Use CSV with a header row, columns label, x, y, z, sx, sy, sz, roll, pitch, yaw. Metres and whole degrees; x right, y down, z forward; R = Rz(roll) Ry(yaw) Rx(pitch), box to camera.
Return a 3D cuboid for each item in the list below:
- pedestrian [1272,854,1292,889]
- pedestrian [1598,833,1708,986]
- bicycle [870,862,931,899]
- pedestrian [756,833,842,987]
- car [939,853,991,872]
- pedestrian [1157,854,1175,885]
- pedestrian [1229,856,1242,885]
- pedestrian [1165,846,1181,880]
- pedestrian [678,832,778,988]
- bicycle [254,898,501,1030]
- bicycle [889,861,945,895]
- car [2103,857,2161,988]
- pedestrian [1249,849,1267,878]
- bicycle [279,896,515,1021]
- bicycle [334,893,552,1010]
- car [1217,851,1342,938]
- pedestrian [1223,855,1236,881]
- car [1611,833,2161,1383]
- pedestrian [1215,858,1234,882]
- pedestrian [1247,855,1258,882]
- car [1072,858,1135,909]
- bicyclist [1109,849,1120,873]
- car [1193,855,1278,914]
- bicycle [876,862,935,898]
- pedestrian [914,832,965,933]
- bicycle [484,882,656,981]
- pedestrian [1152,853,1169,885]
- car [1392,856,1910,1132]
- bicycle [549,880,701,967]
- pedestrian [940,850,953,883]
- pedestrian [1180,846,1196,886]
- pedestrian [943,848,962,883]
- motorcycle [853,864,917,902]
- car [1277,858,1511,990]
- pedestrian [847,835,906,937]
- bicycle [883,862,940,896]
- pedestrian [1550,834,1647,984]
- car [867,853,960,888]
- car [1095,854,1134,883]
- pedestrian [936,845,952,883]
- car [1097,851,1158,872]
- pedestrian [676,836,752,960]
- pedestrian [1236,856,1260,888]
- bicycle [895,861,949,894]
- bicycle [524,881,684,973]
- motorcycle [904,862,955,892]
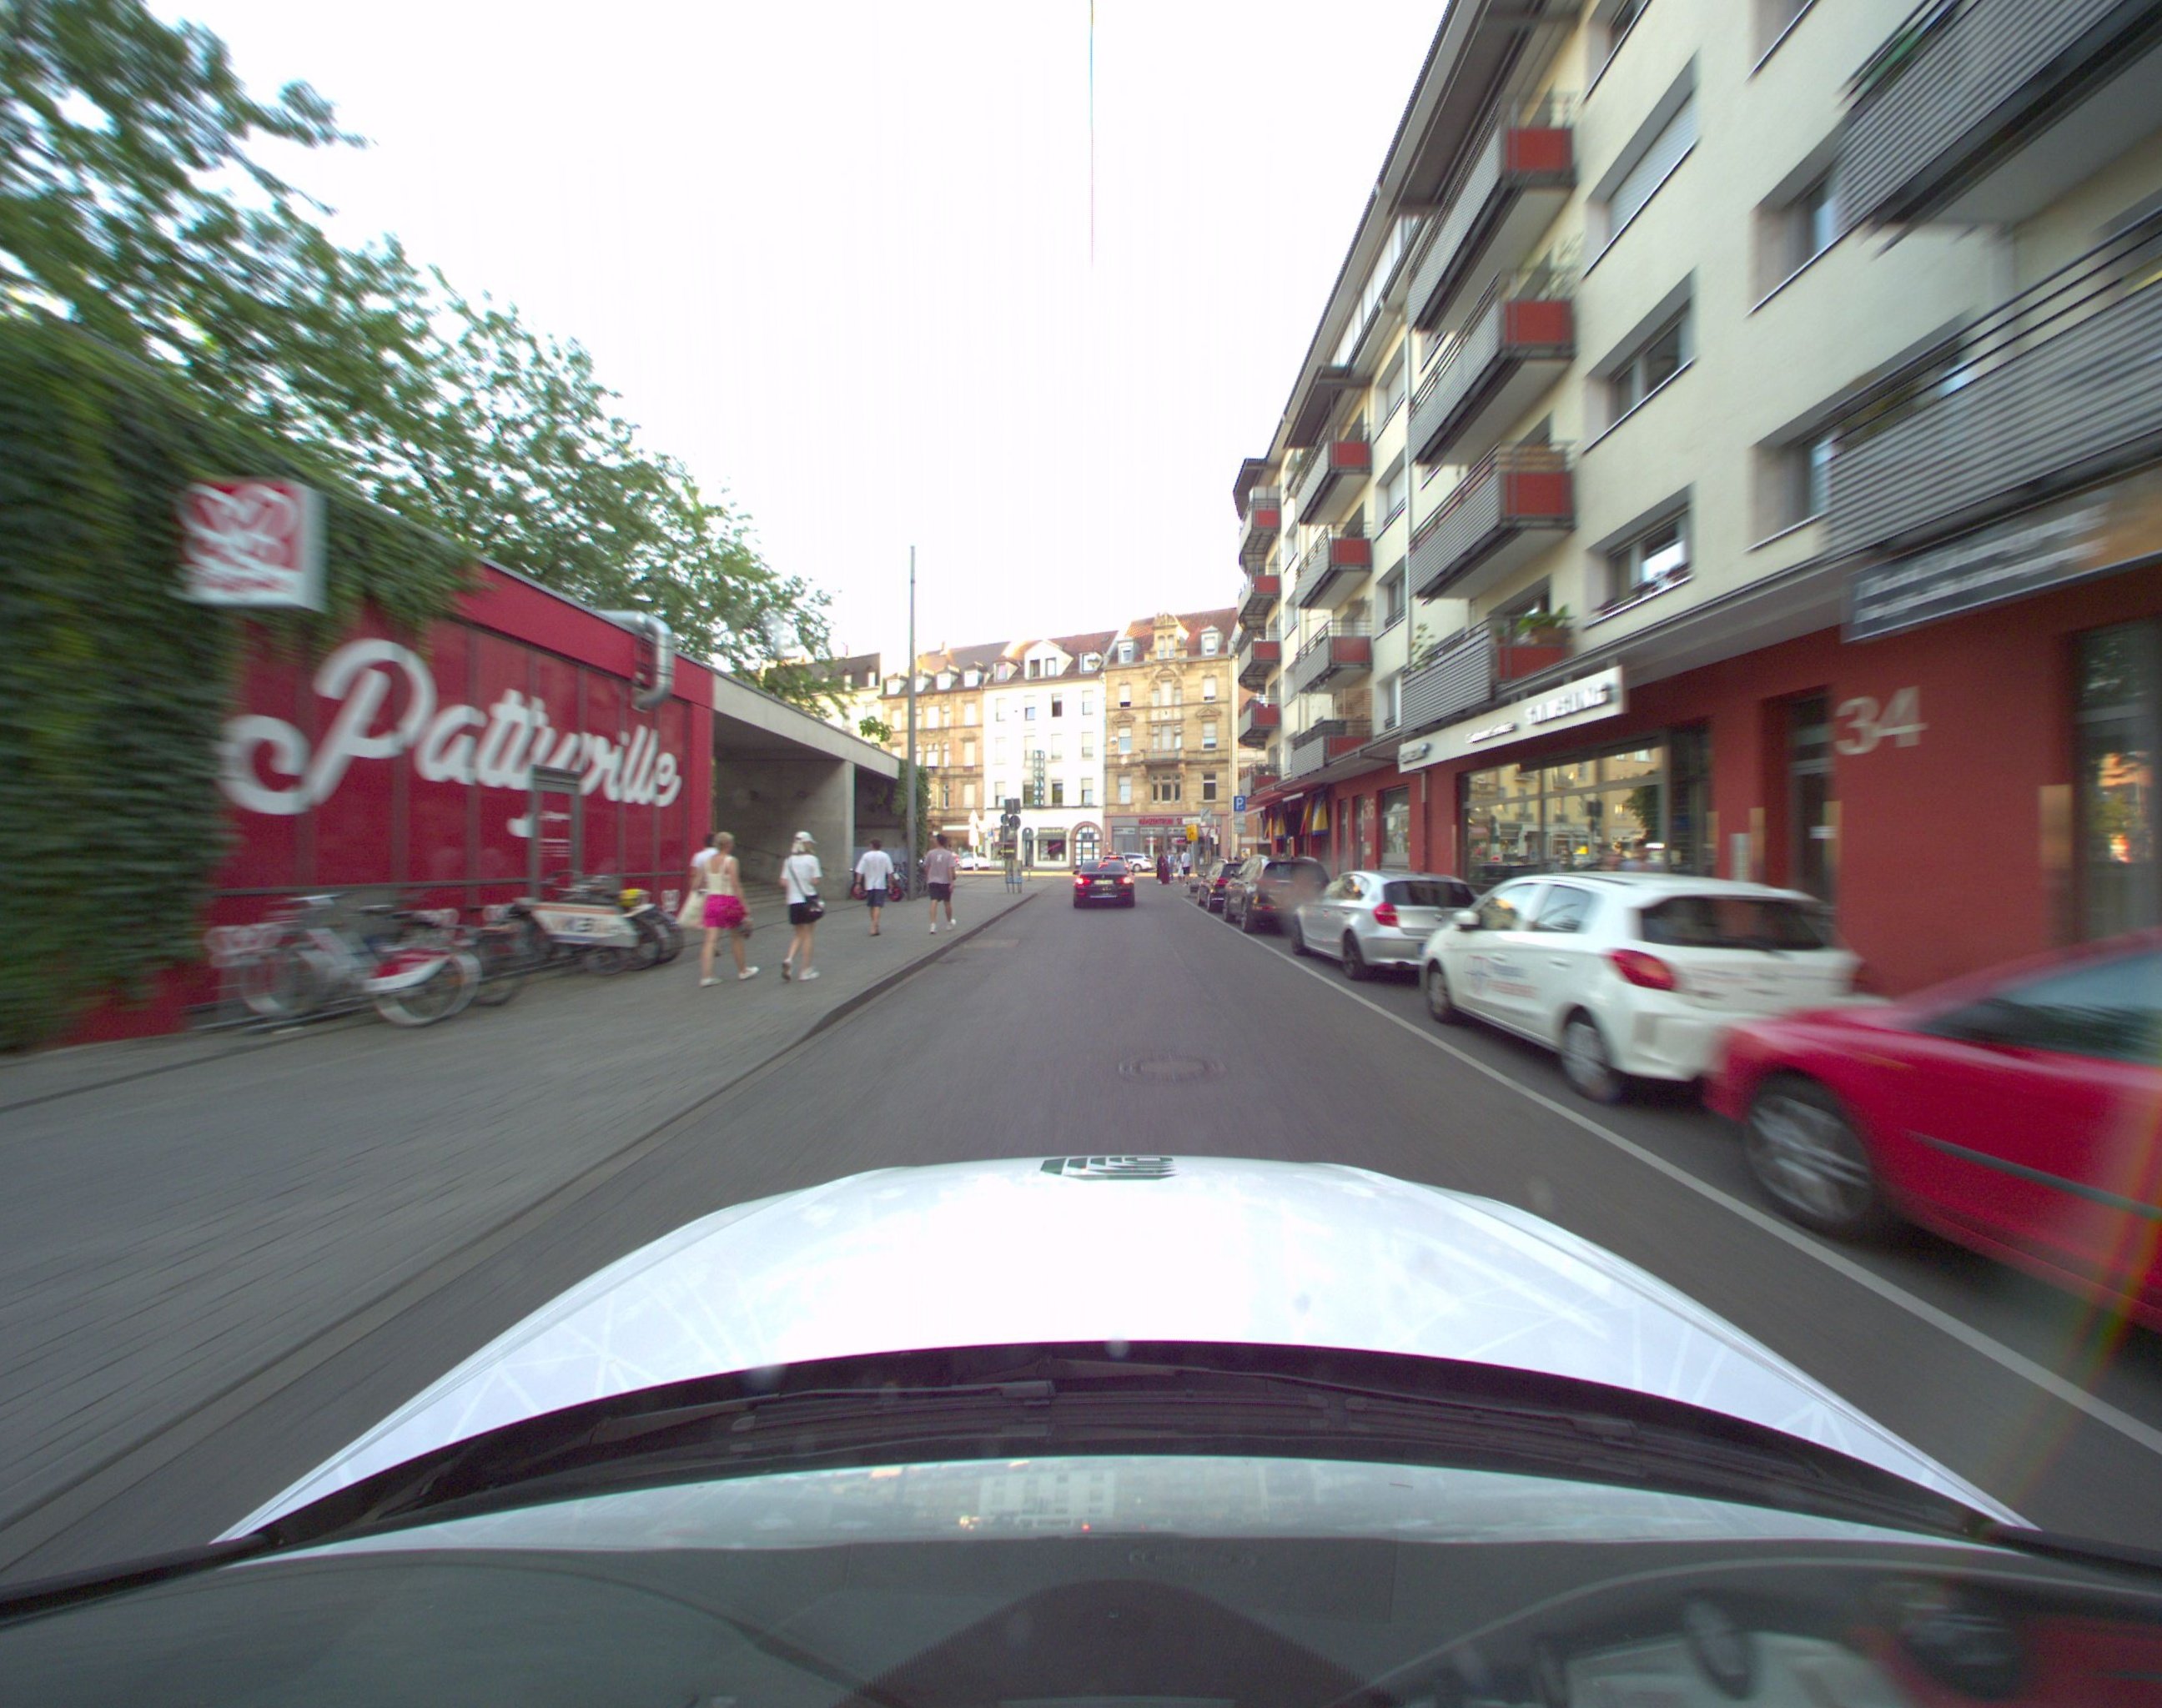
label,x,y,z,sx,sy,sz,roll,pitch,yaw
pedestrian,7.999,0.691,32.483,0.604,1.348,0.696,-2,0,1
pedestrian,6.544,0.613,9.362,0.645,1.661,0.794,-3,0,3
bicycle,-5.765,0.836,26.065,1.788,1.107,0.500,1,0,0
pedestrian,-3.352,0.630,9.757,0.646,1.750,0.986,0,0,1
car,-9.739,0.721,68.570,3.951,1.510,1.810,-1,-1,24
pedestrian,4.329,0.788,41.510,0.735,1.513,0.648,1,0,-7
pedestrian,7.117,0.753,37.537,0.489,1.303,0.418,-3,0,1
pedestrian,4.859,0.482,42.948,0.606,1.746,0.665,-1,0,-19
pedestrian,-4.153,0.632,9.638,0.750,1.749,0.847,1,0,1
bicycle,-6.293,0.964,7.327,1.787,1.107,0.500,0,0,1
bicycle,-5.644,0.836,28.111,1.789,1.107,0.500,1,0,-2
car,11.882,0.709,6.840,1.732,1.336,4.004,-1,0,4
pedestrian,7.660,0.411,35.220,0.421,1.201,0.531,-3,0,-41
bicycle,-6.411,0.963,7.675,1.788,1.107,0.500,0,0,0
bicycle,-6.396,0.964,8.211,1.788,1.107,0.500,0,0,0
car,4.323,0.792,18.504,1.758,1.642,4.793,2,0,2
pedestrian,7.505,0.705,41.143,0.613,1.284,0.661,-1,0,10
car,3.844,0.729,2.255,1.706,1.512,4.652,2,0,0
pedestrian,7.131,0.791,40.502,0.885,1.149,0.620,-1,0,9
pedestrian,8.230,0.690,39.019,0.486,1.276,0.523,-1,0,15
car,0.726,0.834,25.256,1.758,1.375,4.793,1,0,2
bicyclist,2.361,0.491,58.107,0.527,1.756,0.614,1,0,-30
car,4.506,0.824,24.395,1.758,1.502,4.793,2,0,2
bicycle,-5.750,0.836,26.660,1.786,1.107,0.501,1,0,3
pedestrian,-2.746,0.539,15.876,0.741,1.893,1.051,1,0,2
bicycle,-6.161,0.918,9.848,1.786,1.107,0.501,1,0,4
pedestrian,4.114,0.771,42.173,0.723,1.609,0.648,1,0,-7
car,4.101,0.818,6.787,1.600,1.512,4.051,2,0,3
bicycle,-6.116,0.918,10.950,1.786,1.107,0.501,1,0,4
pedestrian,-6.630,0.619,40.251,0.498,1.643,0.521,-1,0,3
pedestrian,5.131,0.583,39.165,0.671,1.877,0.704,0,0,15
pedestrian,-6.555,0.571,41.671,0.665,1.746,0.661,-1,0,41
motorcycle,-5.928,0.852,24.634,1.783,1.064,0.769,1,0,27
car,4.281,0.853,11.964,1.693,1.452,4.458,2,0,0
pedestrian,-3.773,0.572,15.110,0.738,1.812,1.009,2,0,1
bicycle,-5.705,0.836,27.408,1.790,1.107,0.499,1,0,-4
pedestrian,5.997,0.618,9.471,0.645,1.661,0.656,-3,0,3
car,-7.571,0.716,37.104,3.982,1.501,1.887,-1,0,-7
car,1.878,0.750,44.274,1.868,1.473,4.006,-1,0,5
pedestrian,-6.868,0.503,40.893,0.580,1.882,0.635,-1,0,7
car,3.554,0.615,62.542,4.312,1.562,1.879,-1,-1,24
pedestrian,-5.357,0.618,11.931,0.714,1.754,0.848,0,0,0
pedestrian,6.946,0.752,33.857,0.855,1.257,0.491,-3,0,1
bicycle,-5.662,0.835,29.044,1.787,1.107,0.500,1,0,1
bicycle,-6.125,0.917,10.480,1.786,1.107,0.501,1,0,4
motorcycle,-5.700,0.864,30.667,1.757,1.101,0.561,1,0,-33
